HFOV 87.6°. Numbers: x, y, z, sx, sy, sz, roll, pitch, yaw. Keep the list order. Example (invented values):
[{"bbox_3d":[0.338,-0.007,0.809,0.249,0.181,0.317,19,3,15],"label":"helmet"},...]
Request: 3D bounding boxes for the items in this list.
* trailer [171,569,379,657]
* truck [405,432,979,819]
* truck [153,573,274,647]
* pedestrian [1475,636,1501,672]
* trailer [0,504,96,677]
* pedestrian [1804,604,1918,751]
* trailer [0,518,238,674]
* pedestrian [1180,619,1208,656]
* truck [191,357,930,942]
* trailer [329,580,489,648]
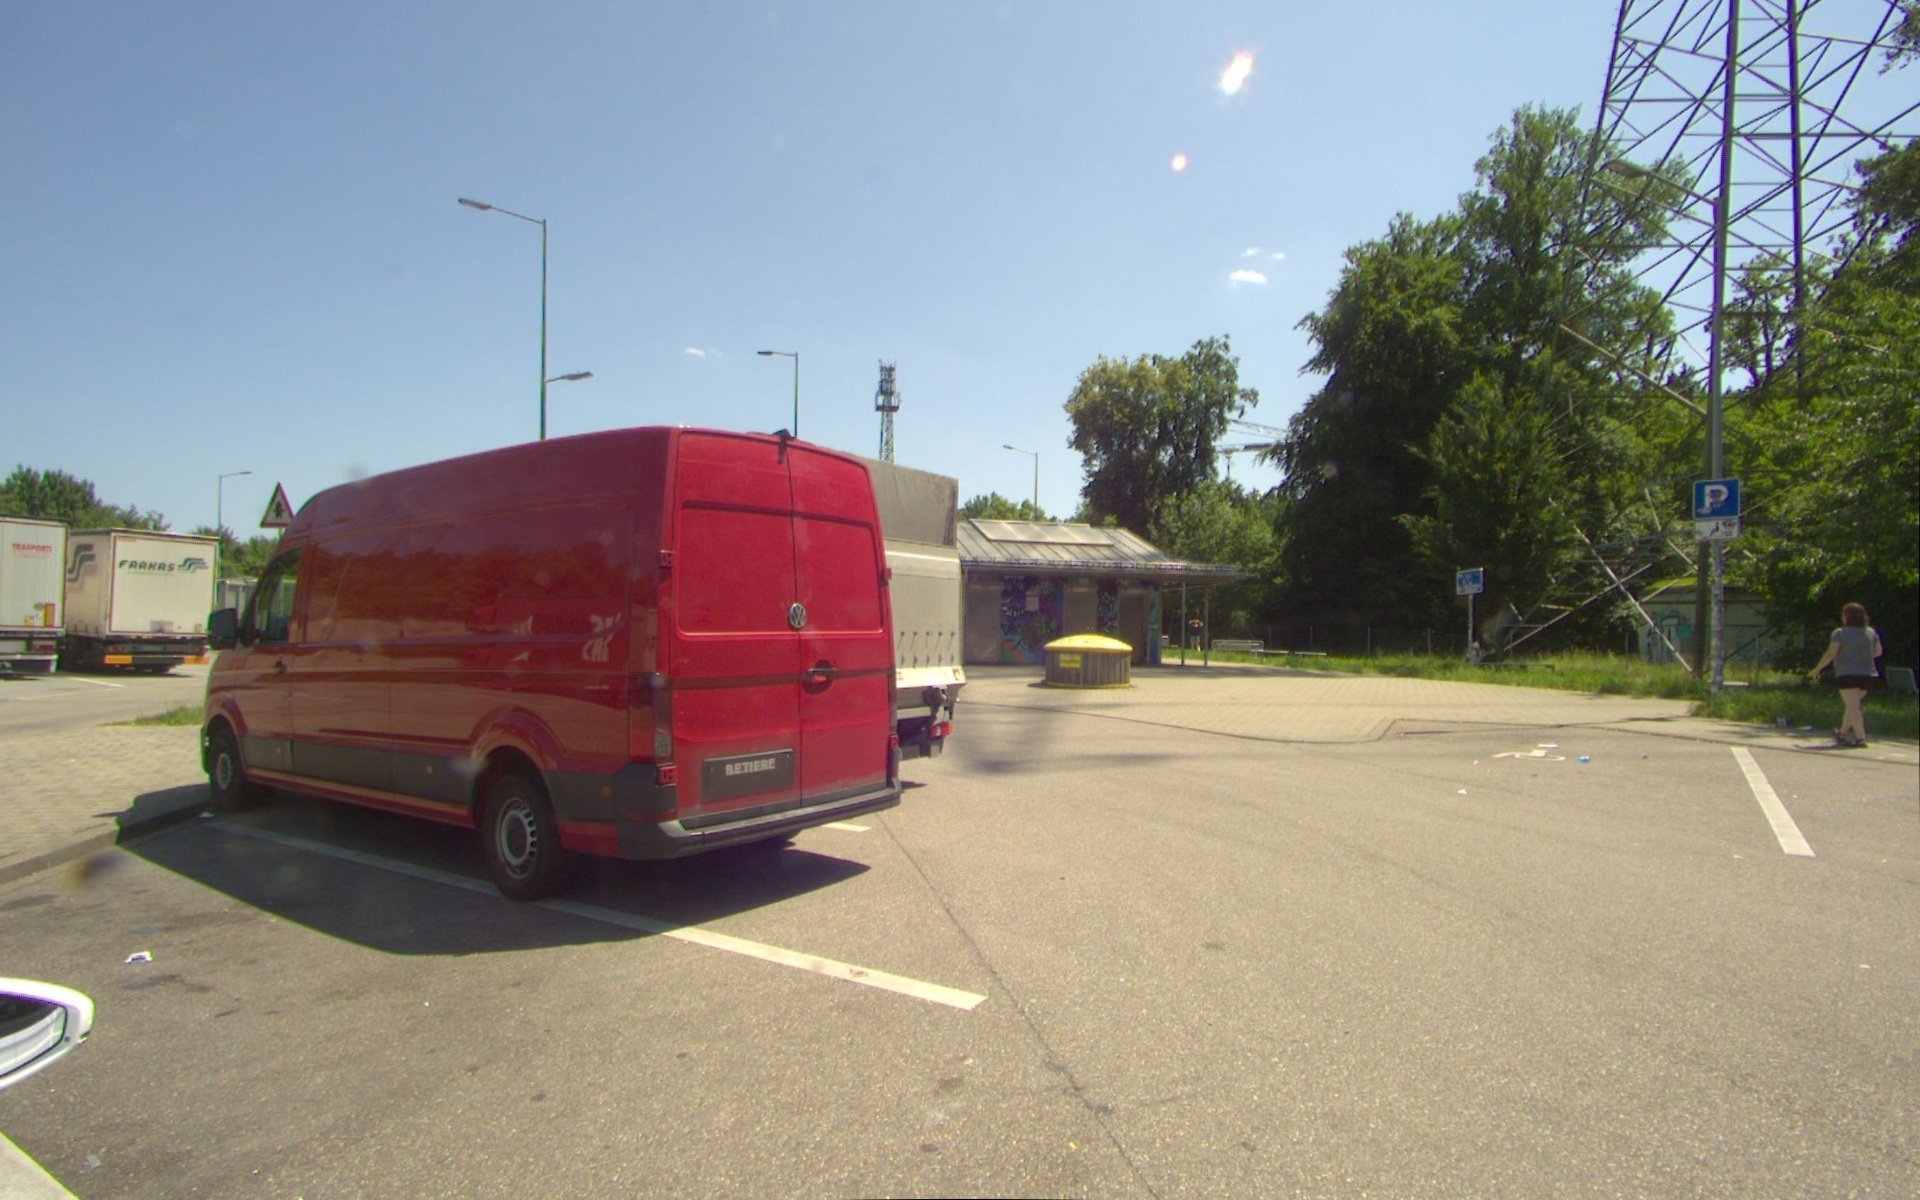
[{"bbox_3d":[-32.465,0.492,47.088,13.561,3.646,2.854,1,-2,32],"label":"trailer"},{"bbox_3d":[-3.075,0.274,10.510,6.372,2.944,2.411,-1,-2,37],"label":"truck"},{"bbox_3d":[-37.536,0.483,50.312,5.887,3.406,2.862,1,-2,32],"label":"truck"},{"bbox_3d":[14.655,1.491,27.805,0.439,0.987,0.460,0,-1,-19],"label":"pedestrian"},{"bbox_3d":[-28.676,-0.335,28.011,13.561,4.162,2.854,1,-2,32],"label":"trailer"},{"bbox_3d":[10.591,0.890,11.792,0.674,1.670,0.715,0,-1,-10],"label":"pedestrian"},{"bbox_3d":[-27.603,-0.163,31.598,13.561,4.162,2.854,1,-2,32],"label":"trailer"},{"bbox_3d":[10.450,1.677,44.704,0.910,1.639,0.808,1,-2,-38],"label":"pedestrian"},{"bbox_3d":[-3.326,0.303,7.326,6.372,2.685,2.005,-1,-2,37],"label":"truck"},{"bbox_3d":[-36.157,0.854,65.327,13.561,3.955,2.854,1,-2,32],"label":"trailer"}]
